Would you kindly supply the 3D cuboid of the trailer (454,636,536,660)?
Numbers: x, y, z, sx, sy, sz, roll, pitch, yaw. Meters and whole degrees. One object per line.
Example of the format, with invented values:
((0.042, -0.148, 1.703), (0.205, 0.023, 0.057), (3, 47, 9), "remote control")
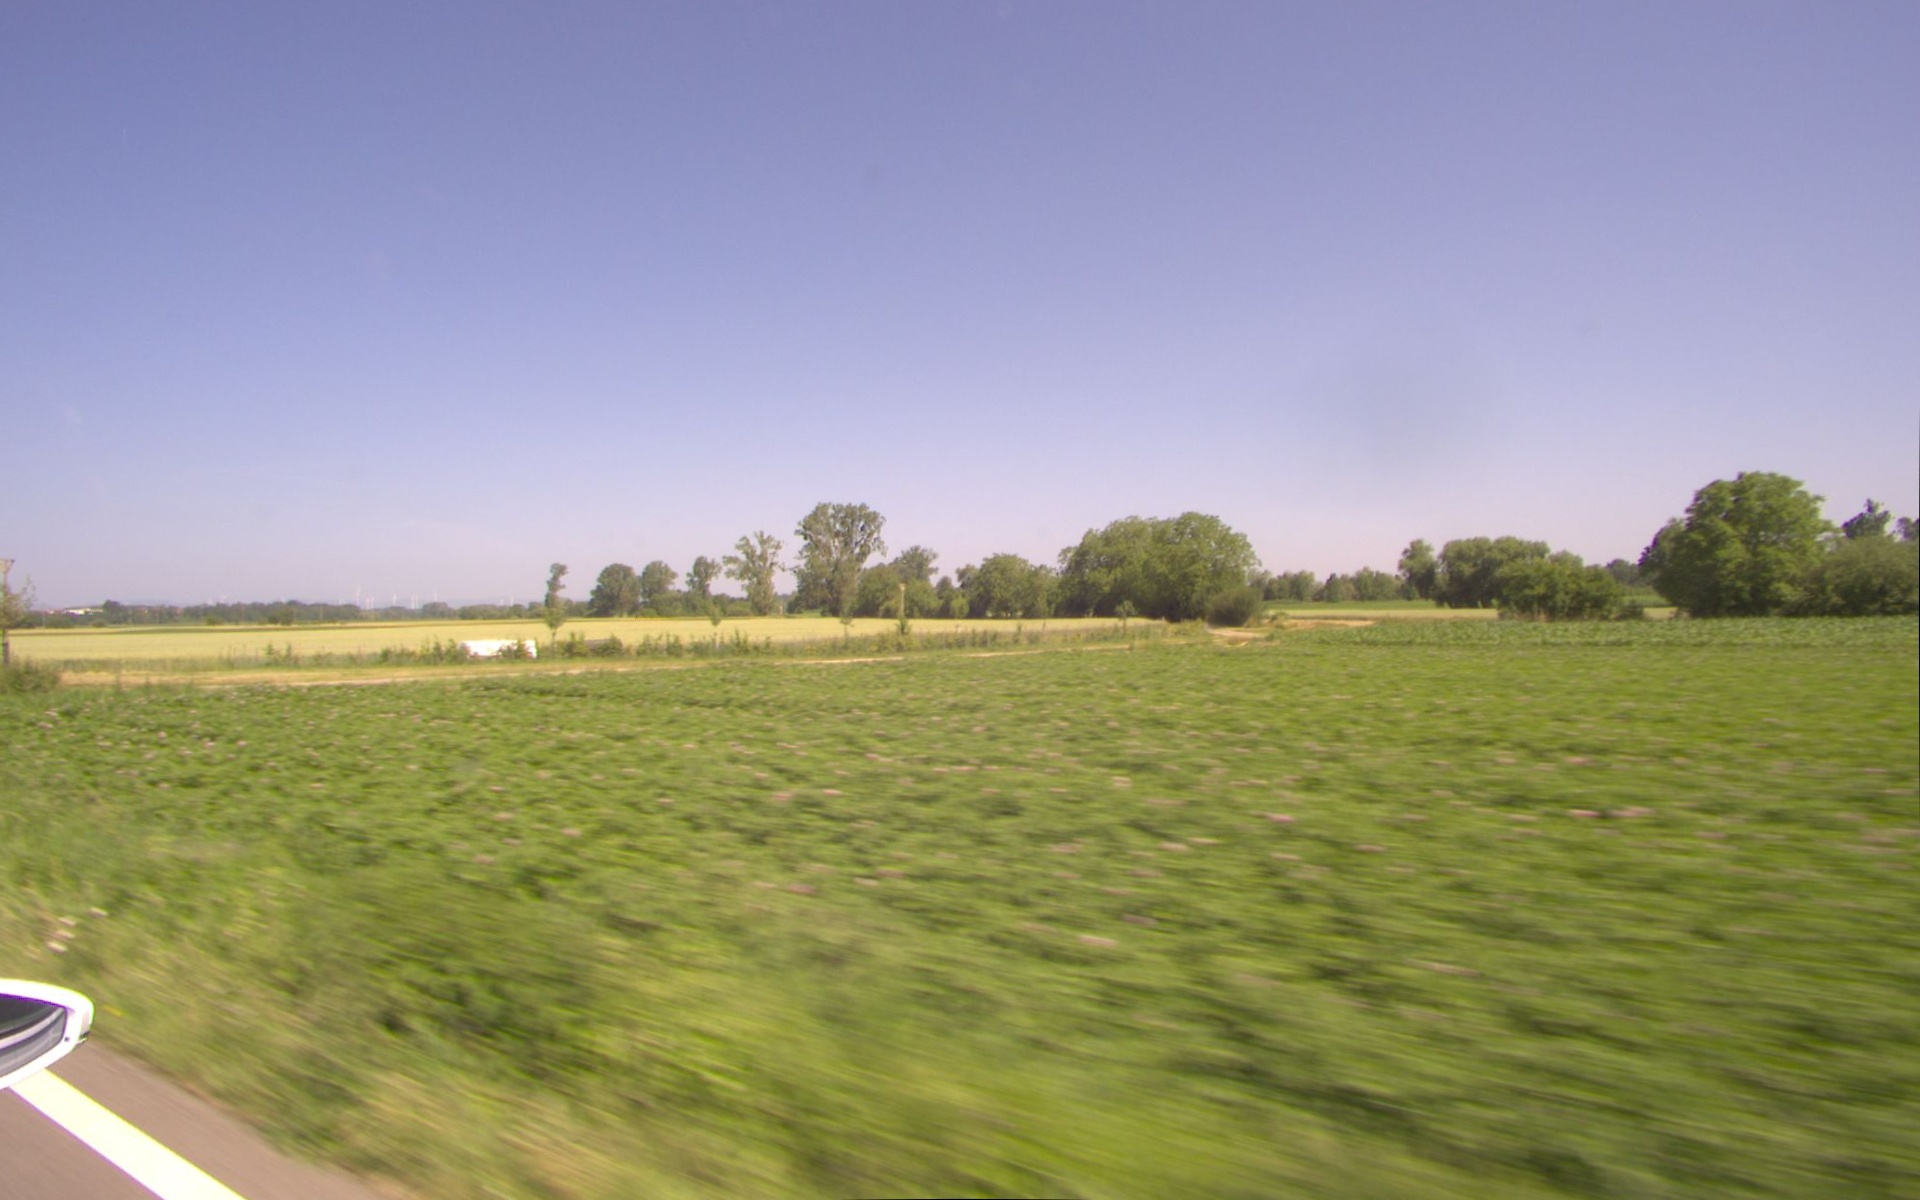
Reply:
((-24.449, 2.526, 52.695), (1.646, 1.204, 3.565), (-2, -3, 44), "trailer")

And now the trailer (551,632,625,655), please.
((-20.756, 2.410, 55.912), (1.646, 1.204, 3.518), (-2, -2, 44), "trailer")
